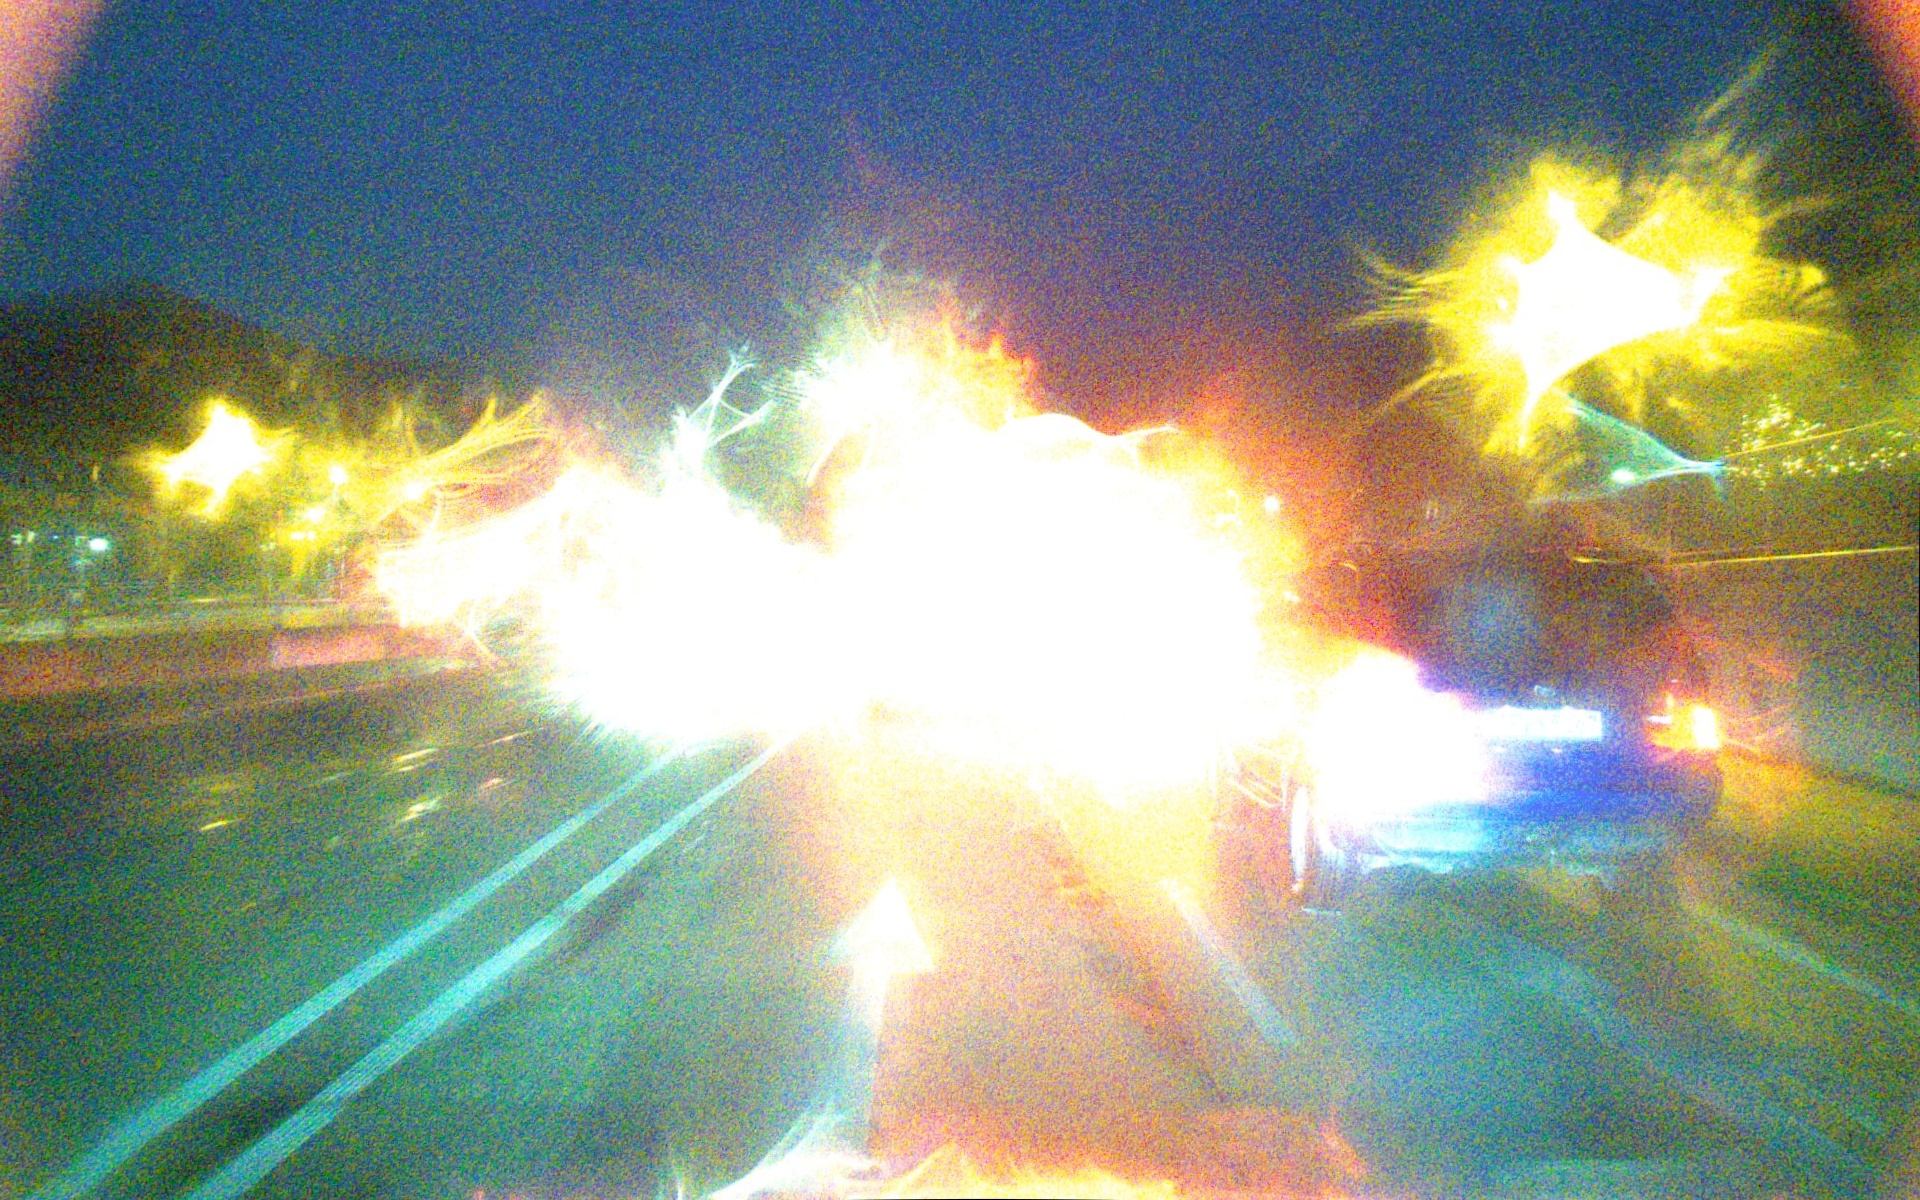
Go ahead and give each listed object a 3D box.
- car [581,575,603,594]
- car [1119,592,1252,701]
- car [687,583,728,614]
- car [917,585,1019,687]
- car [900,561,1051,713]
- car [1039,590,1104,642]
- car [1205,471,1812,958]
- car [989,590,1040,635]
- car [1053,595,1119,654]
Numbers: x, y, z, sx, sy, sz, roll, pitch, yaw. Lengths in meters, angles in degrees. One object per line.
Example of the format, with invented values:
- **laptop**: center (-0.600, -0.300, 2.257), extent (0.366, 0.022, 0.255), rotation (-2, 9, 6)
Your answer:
- **car**: center (-38.400, -1.608, 172.610), extent (1.957, 1.945, 4.731), rotation (1, 0, -10)
- **car**: center (3.384, 0.643, 25.423), extent (1.731, 1.475, 4.220), rotation (1, 1, 4)
- **car**: center (-16.456, -0.111, 107.622), extent (1.962, 1.945, 4.719), rotation (1, 0, -18)
- **car**: center (0.175, 0.576, 29.257), extent (1.673, 1.666, 3.731), rotation (0, 1, 1)
- **car**: center (0.198, 0.420, 20.534), extent (1.659, 1.658, 3.853), rotation (2, 0, 1)
- **car**: center (3.391, 0.467, 50.827), extent (1.629, 1.475, 4.049), rotation (1, 1, -1)
- **car**: center (2.612, 0.454, 9.042), extent (1.902, 2.006, 4.218), rotation (1, 1, 0)
- **car**: center (1.855, 0.443, 57.451), extent (1.629, 1.475, 4.050), rotation (1, 0, 0)
- **car**: center (3.309, 0.633, 44.045), extent (1.628, 1.475, 4.051), rotation (1, 0, 3)
